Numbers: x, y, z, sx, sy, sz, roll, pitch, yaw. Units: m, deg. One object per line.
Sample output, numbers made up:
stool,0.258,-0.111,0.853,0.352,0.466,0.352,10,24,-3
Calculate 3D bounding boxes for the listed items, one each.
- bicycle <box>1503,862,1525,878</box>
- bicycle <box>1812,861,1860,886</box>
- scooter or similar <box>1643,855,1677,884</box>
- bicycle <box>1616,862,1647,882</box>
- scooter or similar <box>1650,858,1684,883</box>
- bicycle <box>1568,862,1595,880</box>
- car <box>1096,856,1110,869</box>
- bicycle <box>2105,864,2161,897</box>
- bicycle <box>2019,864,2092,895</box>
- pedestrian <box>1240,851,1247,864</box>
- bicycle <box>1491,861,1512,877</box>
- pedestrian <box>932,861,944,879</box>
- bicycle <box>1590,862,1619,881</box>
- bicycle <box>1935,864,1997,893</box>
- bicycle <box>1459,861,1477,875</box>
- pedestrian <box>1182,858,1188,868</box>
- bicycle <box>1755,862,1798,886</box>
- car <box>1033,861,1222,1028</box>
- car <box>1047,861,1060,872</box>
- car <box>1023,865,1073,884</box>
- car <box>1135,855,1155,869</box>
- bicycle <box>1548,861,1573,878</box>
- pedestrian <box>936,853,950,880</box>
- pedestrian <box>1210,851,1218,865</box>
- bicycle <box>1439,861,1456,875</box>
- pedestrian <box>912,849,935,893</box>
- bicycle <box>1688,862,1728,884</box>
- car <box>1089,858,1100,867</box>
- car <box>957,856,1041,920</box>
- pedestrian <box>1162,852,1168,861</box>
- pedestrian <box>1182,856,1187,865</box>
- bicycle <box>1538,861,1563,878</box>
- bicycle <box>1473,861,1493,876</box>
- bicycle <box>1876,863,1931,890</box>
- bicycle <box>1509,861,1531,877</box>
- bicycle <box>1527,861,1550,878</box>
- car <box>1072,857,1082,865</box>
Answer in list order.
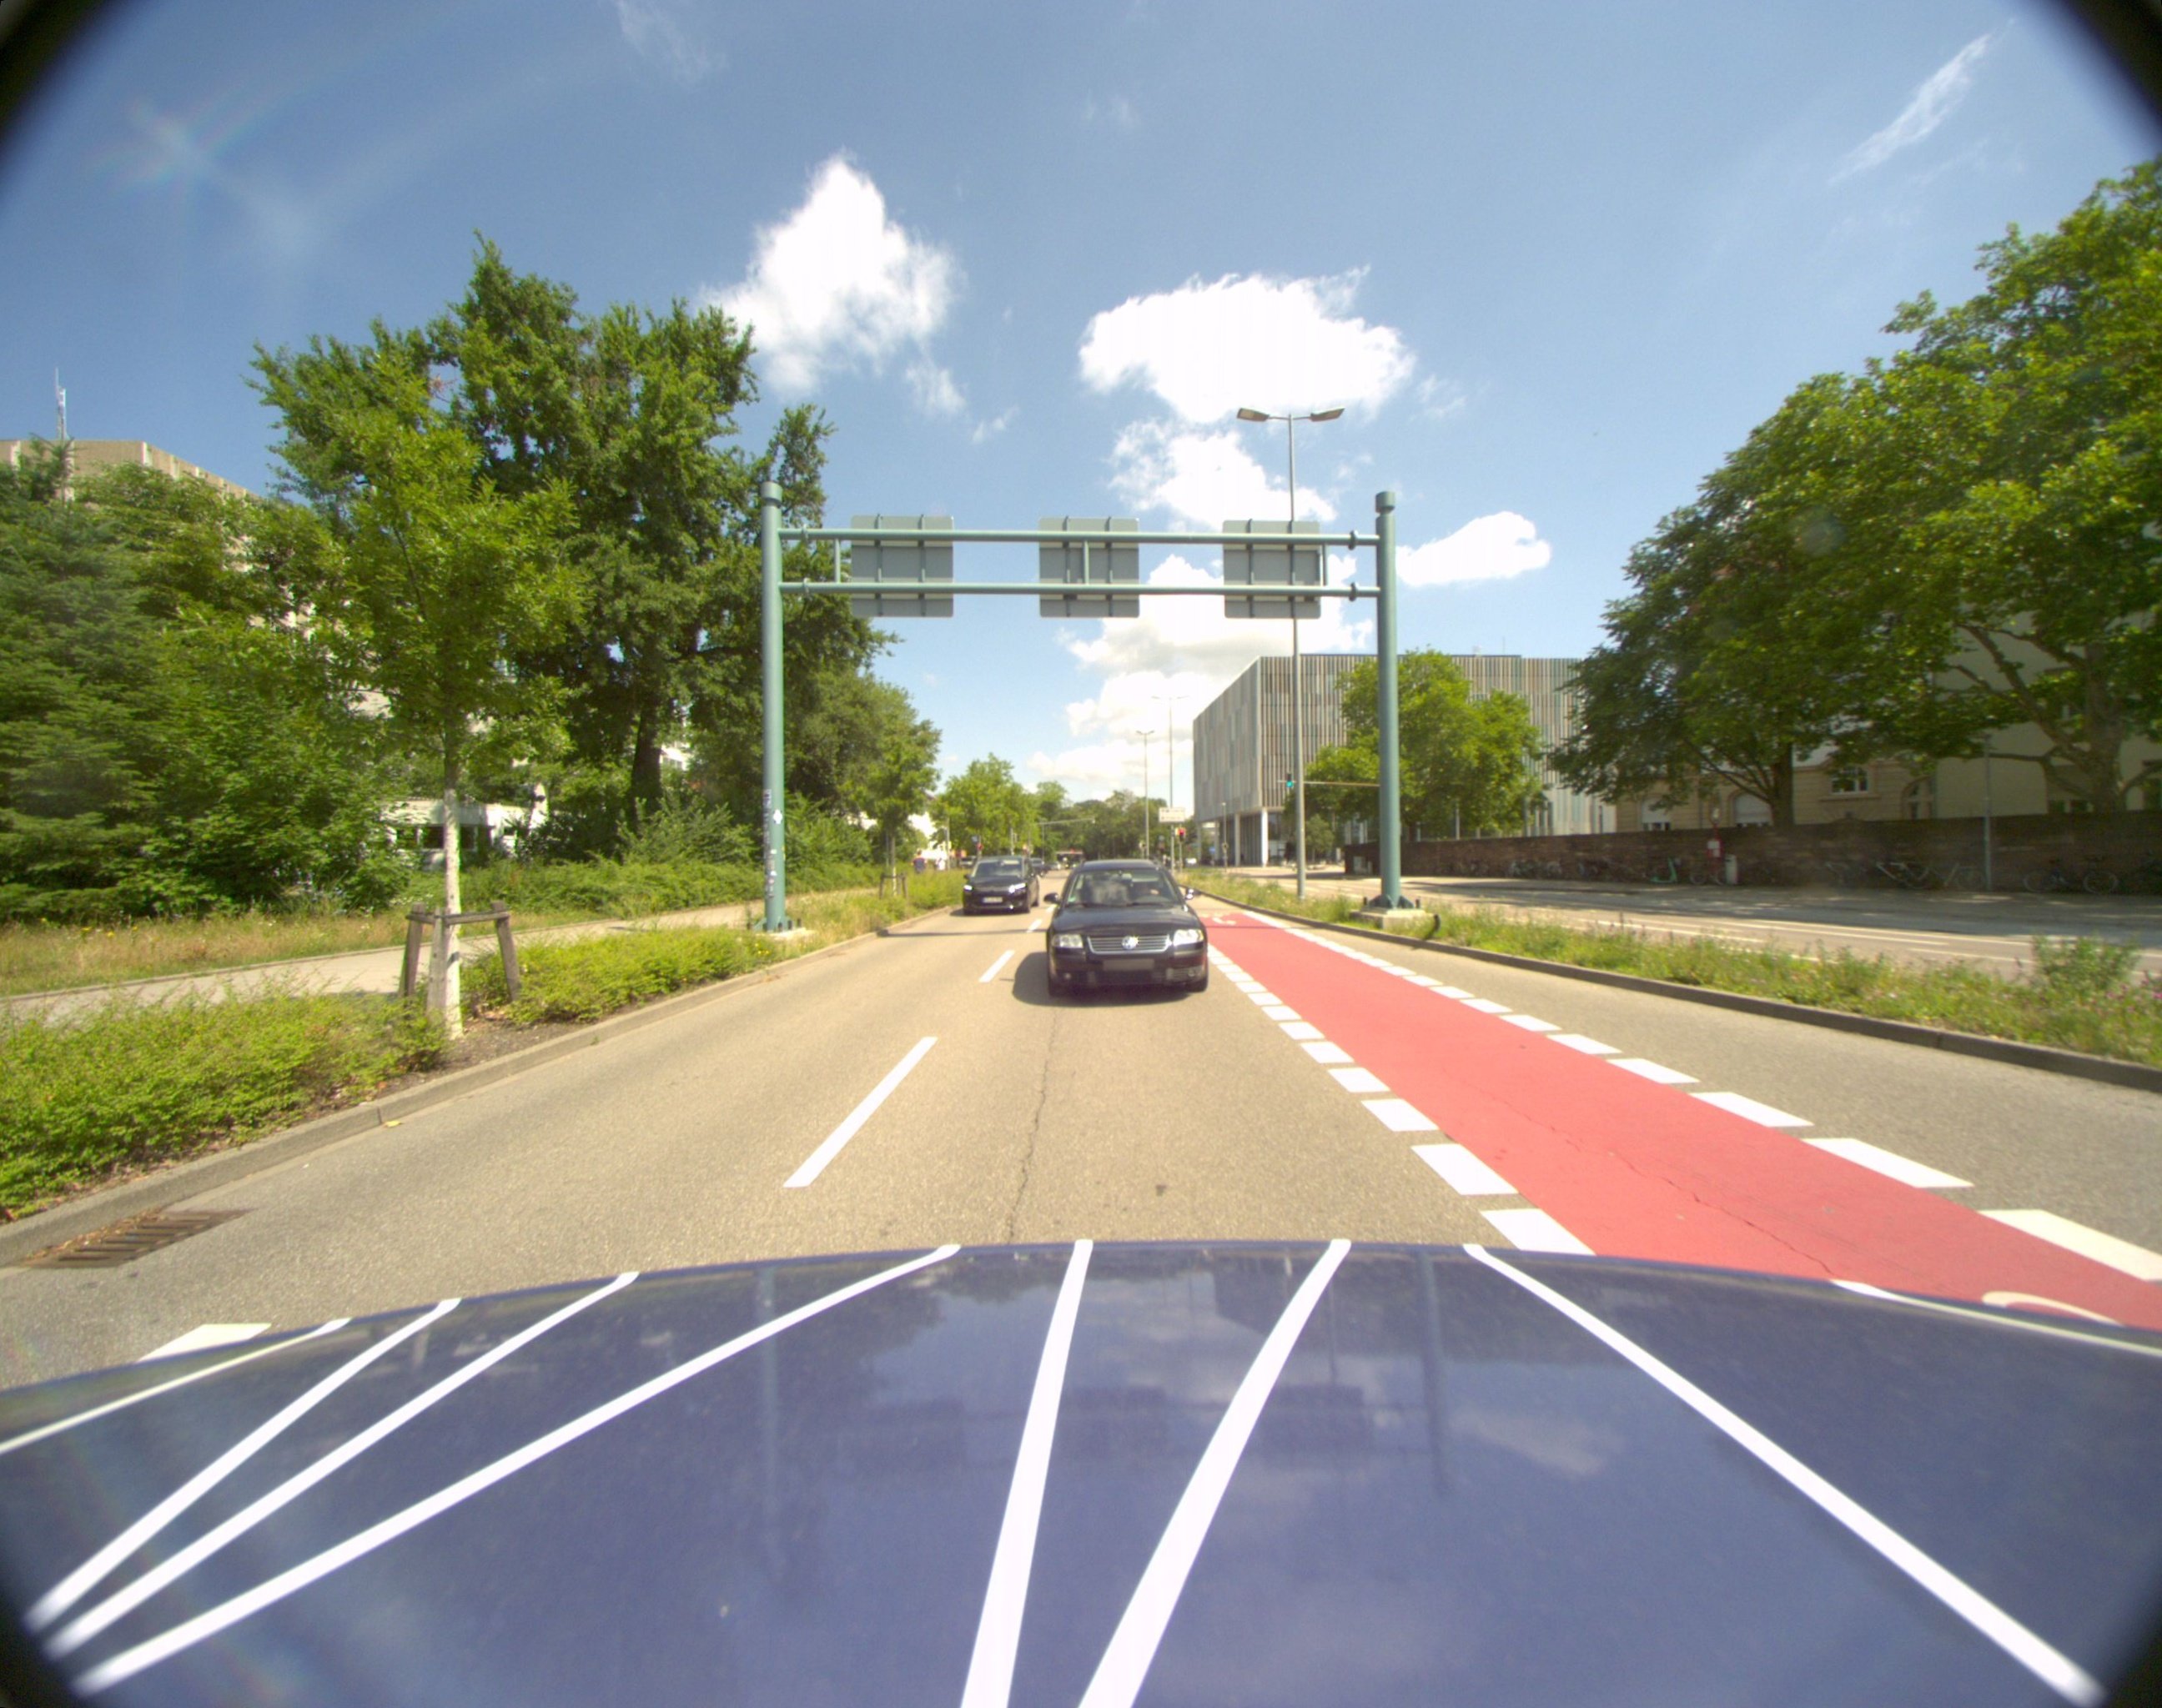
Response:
bicycle,22.841,0.814,40.091,0.265,0.826,1.234,-1,0,-11
bicycle,25.678,0.664,25.859,0.265,0.826,1.235,-1,0,-11
scooter or similar,23.786,0.628,31.252,0.265,1.182,1.234,-1,0,-11
bicycle,24.147,0.776,33.350,0.265,0.826,1.235,-1,0,-11
scooter or similar,24.569,0.698,31.858,0.266,1.014,1.140,-1,0,-22
bicycle,23.841,0.785,36.204,0.265,0.826,1.235,-1,0,-11
car,2.751,1.068,96.098,1.723,1.545,4.594,-3,0,1
bicycle,27.121,0.672,19.354,0.265,0.826,1.234,-1,0,-13
bicycle,26.634,0.690,20.782,0.265,0.826,1.234,-1,0,-13
pedestrian,27.024,0.578,126.242,0.864,2.002,0.995,-1,0,0
bicycle,23.147,0.824,41.811,0.265,0.826,1.234,-1,0,-11
pedestrian,-13.186,1.475,69.965,0.763,1.601,0.769,-1,0,26
bicycle,24.015,0.788,34.873,0.265,0.826,1.235,-1,0,-11
bicycle,26.236,0.726,22.537,0.265,0.826,1.235,-1,0,-11
bicycle,22.801,0.837,44.762,0.265,0.826,1.235,-1,0,-11
pedestrian,15.303,1.257,111.430,0.697,1.445,0.688,-1,0,-6
bicycle,25.182,0.712,27.528,0.265,0.826,1.235,-1,0,-11
car,0.469,0.875,9.458,1.723,1.472,4.594,-3,0,1
car,-4.335,1.958,122.141,1.816,1.598,4.479,-3,0,1
car,-3.126,1.954,72.060,4.487,1.598,1.813,-2,0,-41
car,8.035,0.949,95.848,1.999,1.701,4.512,-1,0,-1
bicycle,23.657,0.754,37.477,0.265,0.826,1.235,-1,0,-11
pedestrian,-10.416,0.919,57.394,0.847,2.026,0.900,-1,0,-22
pedestrian,18.763,0.592,107.192,0.864,2.002,0.995,-1,0,-1
bicycle,22.483,0.839,46.657,0.265,0.826,1.235,-1,0,-11
pedestrian,-6.379,0.685,30.737,0.639,1.754,0.887,-1,0,7
bicycle,24.812,0.745,30.088,0.265,0.826,1.233,-1,0,-21
car,2.250,1.369,128.147,1.806,1.361,4.157,-1,1,1
car,-2.256,0.897,22.018,1.816,1.598,4.479,-3,0,1
pedestrian,15.543,0.425,140.354,0.864,1.647,0.995,-1,0,-1
pedestrian,17.368,1.050,127.839,0.696,1.445,0.689,-1,0,3
bicycle,23.179,0.755,37.534,0.265,0.826,1.234,-1,0,-11
bicycle,22.963,0.812,43.446,0.265,0.826,1.234,-1,0,-11
bicycle,26.027,0.704,24.057,0.265,0.826,1.235,-1,0,-11
bicycle,23.353,0.796,40.416,0.265,0.826,1.234,-1,0,-11
bicycle,23.462,0.793,39.005,0.265,0.826,1.235,-1,0,-11
car,-0.681,1.378,142.724,1.806,1.361,4.157,-1,1,1
